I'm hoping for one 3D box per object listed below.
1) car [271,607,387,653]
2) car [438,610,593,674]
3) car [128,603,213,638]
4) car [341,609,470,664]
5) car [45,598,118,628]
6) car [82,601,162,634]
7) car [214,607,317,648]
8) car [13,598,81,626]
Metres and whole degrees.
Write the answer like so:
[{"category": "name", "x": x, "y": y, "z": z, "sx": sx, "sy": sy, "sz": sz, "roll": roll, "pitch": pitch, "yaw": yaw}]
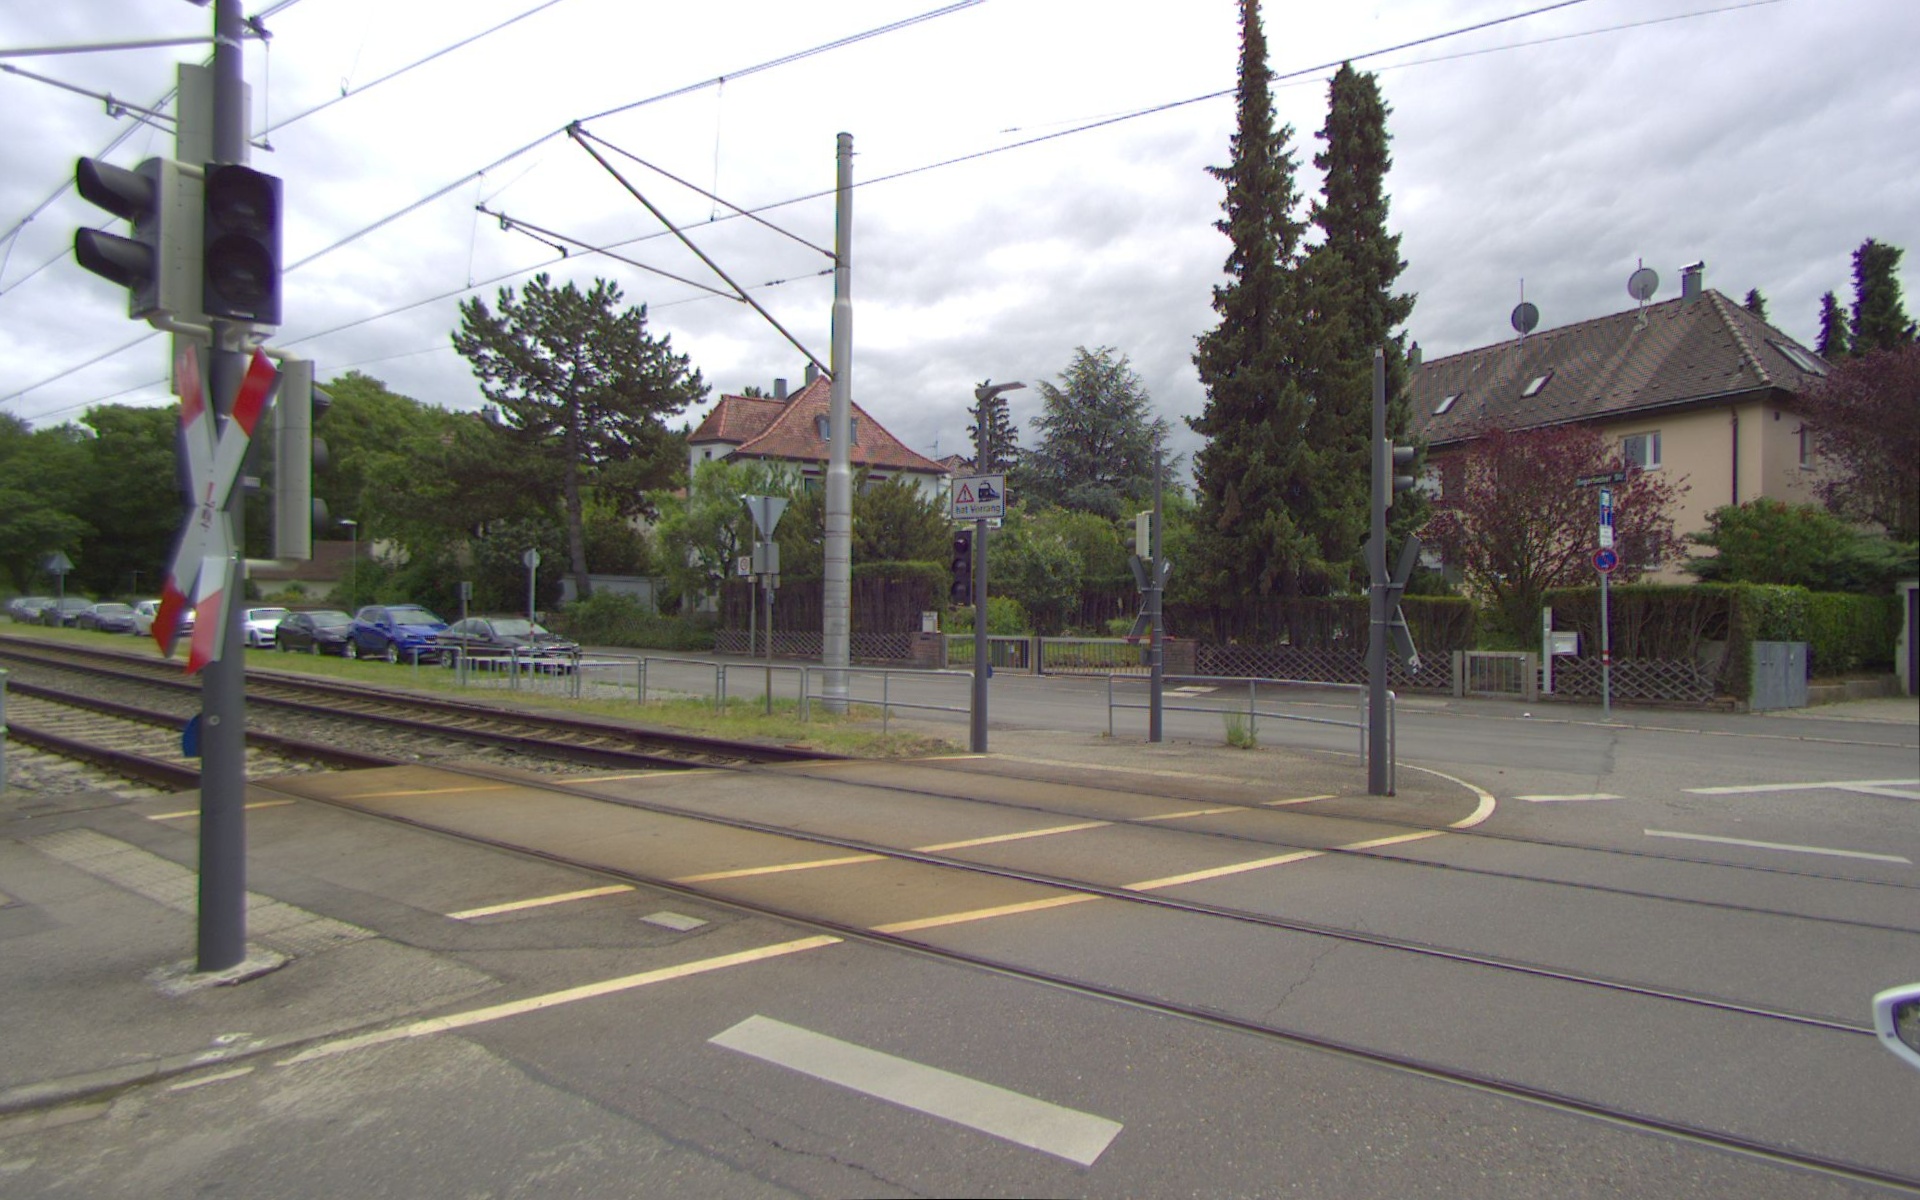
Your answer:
[{"category": "car", "x": -20.464, "y": 0.929, "z": 32.537, "sx": 3.934, "sy": 1.394, "sz": 1.848, "roll": 0, "pitch": 0, "yaw": 36}, {"category": "car", "x": -11.639, "y": 1.036, "z": 26.263, "sx": 4.049, "sy": 1.521, "sz": 1.817, "roll": 0, "pitch": 0, "yaw": 33}, {"category": "car", "x": -33.662, "y": 0.850, "z": 42.801, "sx": 3.934, "sy": 1.394, "sz": 1.848, "roll": 0, "pitch": 0, "yaw": 36}, {"category": "car", "x": -16.391, "y": 1.031, "z": 29.640, "sx": 3.934, "sy": 1.500, "sz": 1.848, "roll": 0, "pitch": 0, "yaw": 36}, {"category": "car", "x": -43.074, "y": 0.617, "z": 49.234, "sx": 3.934, "sy": 1.394, "sz": 1.848, "roll": 0, "pitch": 0, "yaw": 36}, {"category": "car", "x": -37.859, "y": 0.775, "z": 45.347, "sx": 3.934, "sy": 1.394, "sz": 1.848, "roll": 0, "pitch": 0, "yaw": 36}, {"category": "car", "x": -25.110, "y": 0.956, "z": 36.266, "sx": 3.934, "sy": 1.394, "sz": 1.848, "roll": 0, "pitch": 0, "yaw": 36}, {"category": "car", "x": -47.403, "y": 0.585, "z": 52.144, "sx": 3.934, "sy": 1.394, "sz": 1.848, "roll": 0, "pitch": 0, "yaw": 36}]
